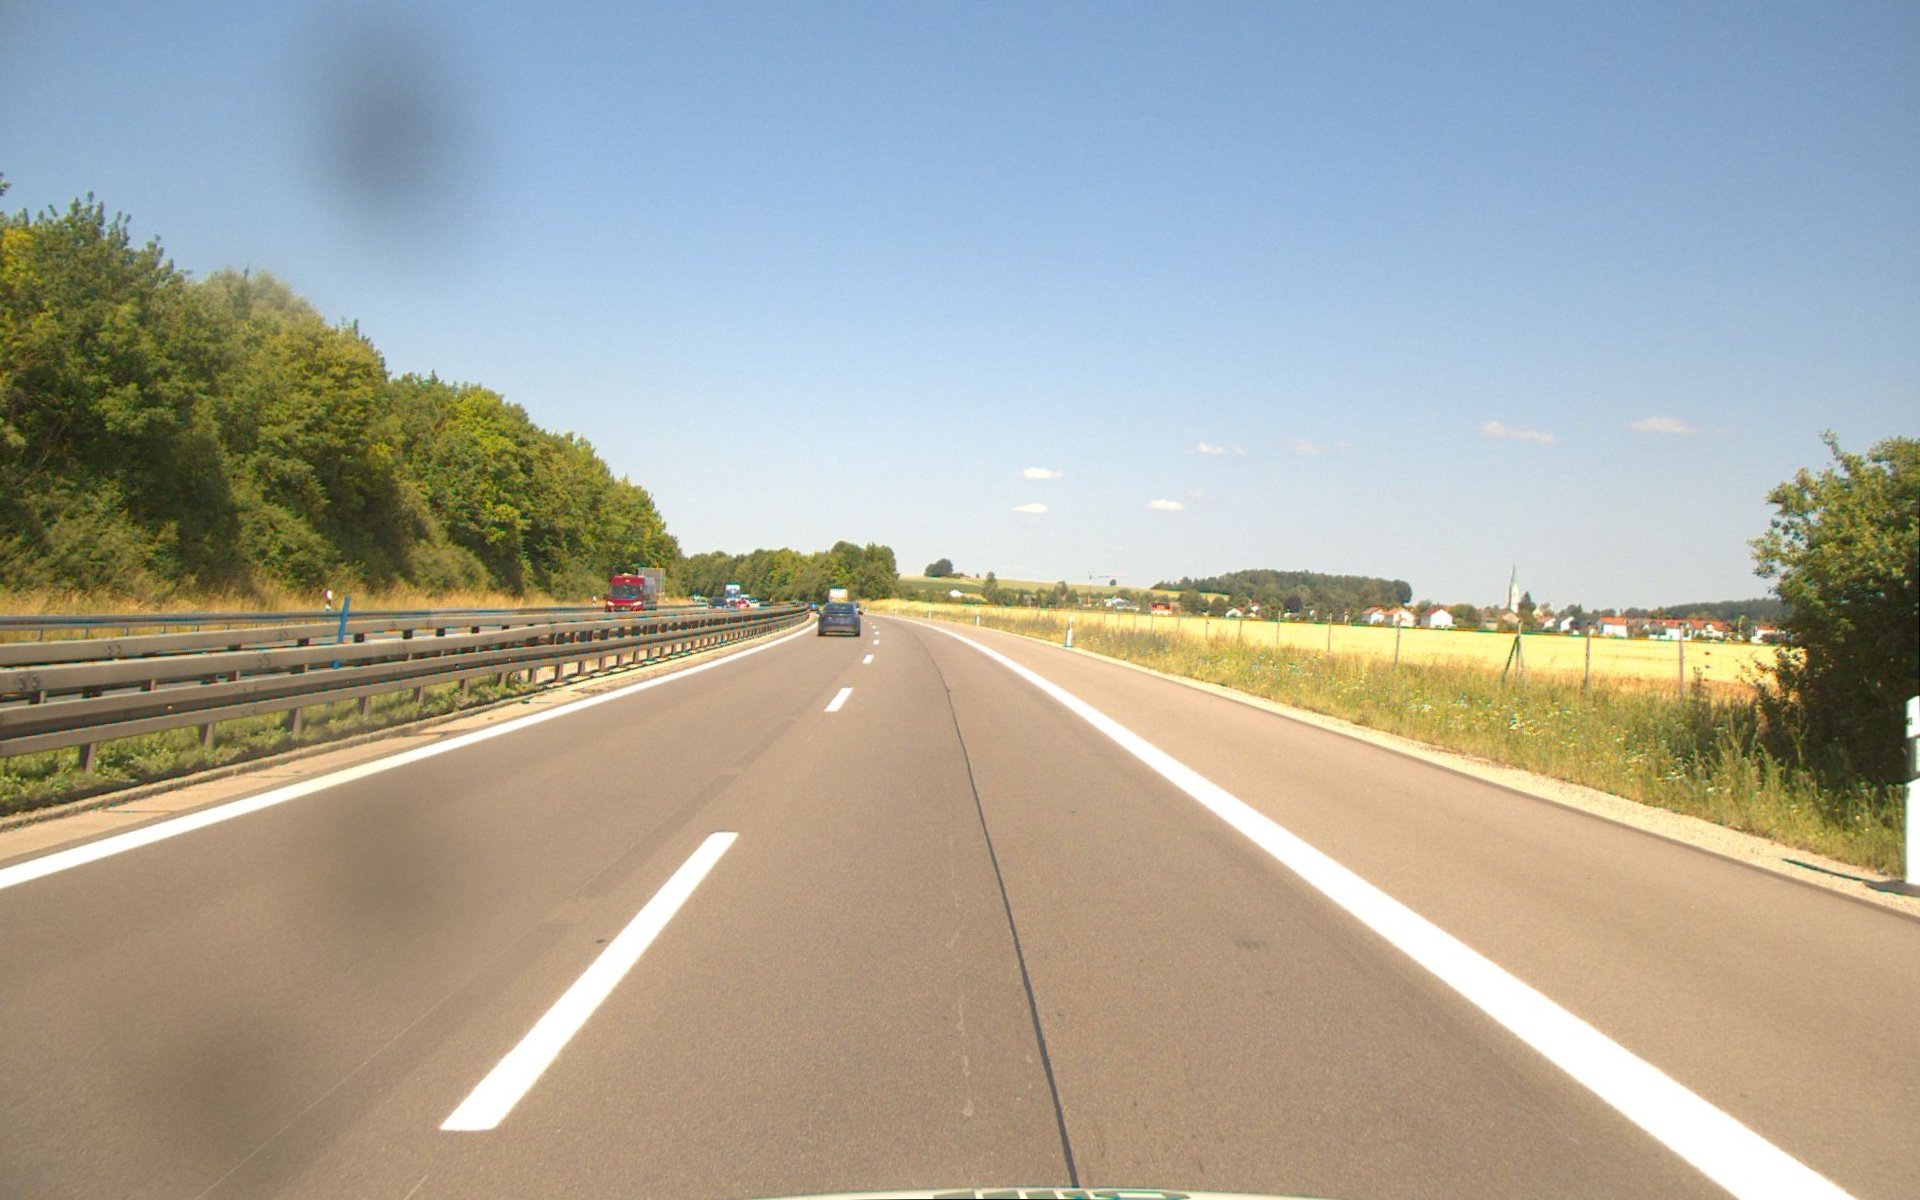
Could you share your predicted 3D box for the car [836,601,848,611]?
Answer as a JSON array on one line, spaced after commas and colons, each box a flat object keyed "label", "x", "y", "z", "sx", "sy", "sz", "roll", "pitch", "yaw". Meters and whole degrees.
[{"label": "car", "x": -16.721, "y": 0.844, "z": 234.394, "sx": 1.643, "sy": 1.478, "sz": 3.588, "roll": 1, "pitch": 0, "yaw": -5}]

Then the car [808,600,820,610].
[{"label": "car", "x": -21.506, "y": 0.760, "z": 243.229, "sx": 1.643, "sy": 1.478, "sz": 3.588, "roll": 1, "pitch": 0, "yaw": -5}]

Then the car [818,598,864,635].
[{"label": "car", "x": -5.152, "y": 0.683, "z": 72.314, "sx": 1.810, "sy": 1.458, "sz": 5.863, "roll": 1, "pitch": 0, "yaw": -2}]

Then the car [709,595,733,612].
[{"label": "car", "x": -23.206, "y": 0.369, "z": 160.700, "sx": 1.775, "sy": 1.582, "sz": 4.846, "roll": 1, "pitch": 0, "yaw": -3}]

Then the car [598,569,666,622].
[{"label": "car", "x": -17.554, "y": -0.257, "z": 88.958, "sx": 2.493, "sy": 2.640, "sz": 6.590, "roll": 2, "pitch": 0, "yaw": -2}]

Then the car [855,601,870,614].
[{"label": "car", "x": -12.052, "y": 0.914, "z": 204.333, "sx": 1.643, "sy": 1.478, "sz": 3.588, "roll": 1, "pitch": 0, "yaw": -6}]
